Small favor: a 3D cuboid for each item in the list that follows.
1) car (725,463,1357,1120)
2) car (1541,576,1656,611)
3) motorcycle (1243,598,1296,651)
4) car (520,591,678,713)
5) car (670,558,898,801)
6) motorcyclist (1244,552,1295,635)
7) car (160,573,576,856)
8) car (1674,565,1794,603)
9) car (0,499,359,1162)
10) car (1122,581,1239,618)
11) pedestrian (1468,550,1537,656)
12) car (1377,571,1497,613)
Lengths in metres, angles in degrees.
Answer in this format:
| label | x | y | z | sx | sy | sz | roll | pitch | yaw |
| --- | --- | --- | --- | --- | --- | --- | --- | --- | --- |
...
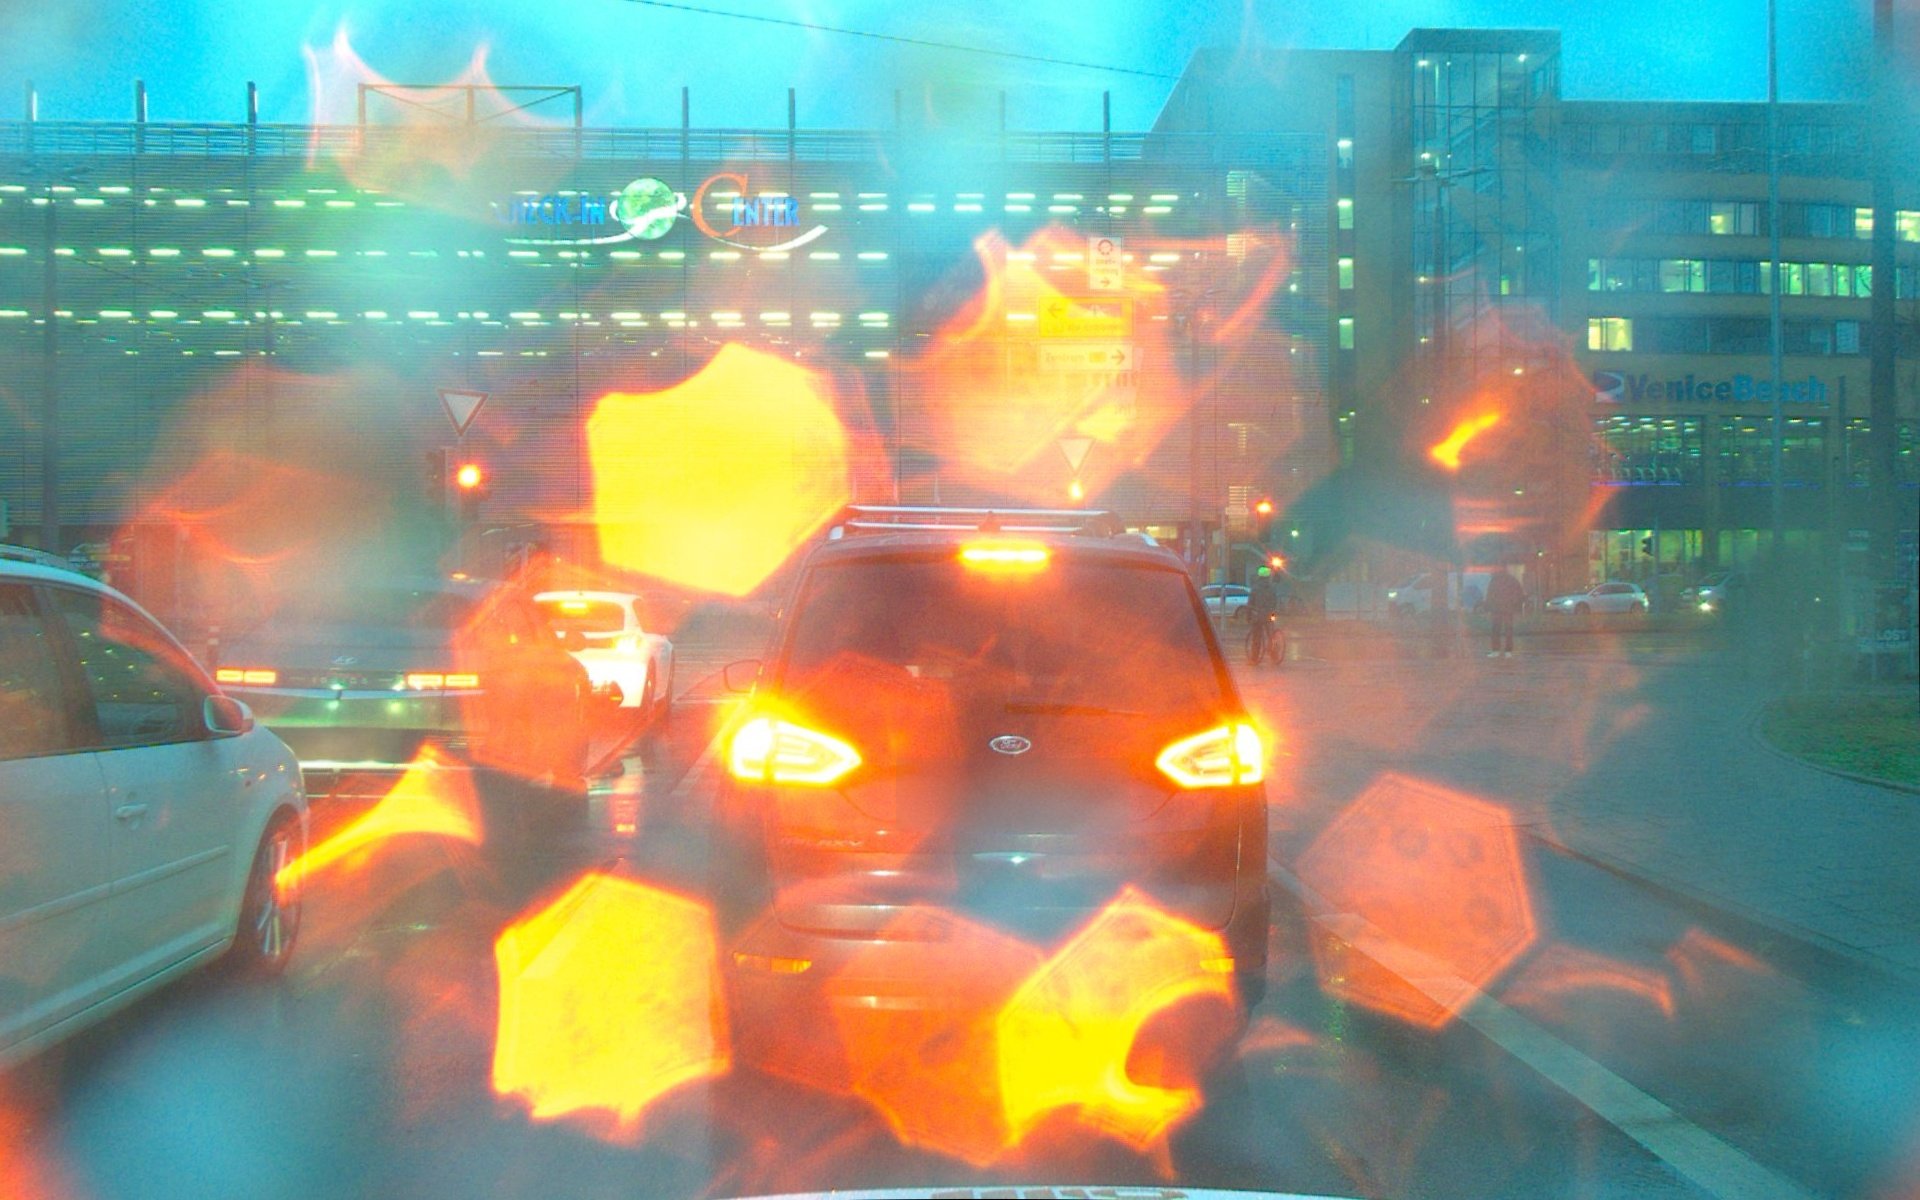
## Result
| label | x | y | z | sx | sy | sz | roll | pitch | yaw |
| --- | --- | --- | --- | --- | --- | --- | --- | --- | --- |
| car | 0.126 | 0.520 | 6.694 | 1.700 | 1.768 | 4.244 | 2 | 0 | -3 |
| car | 26.544 | -0.283 | 68.774 | 4.136 | 1.414 | 1.797 | 0 | 0 | -8 |
| motorcycle | 5.924 | 0.460 | 31.725 | 0.835 | 0.989 | 1.582 | 0 | 0 | 5 |
| car | -4.127 | 0.537 | 19.374 | 1.512 | 1.273 | 4.060 | 0 | 0 | -8 |
| car | -1.416 | 0.571 | 13.690 | 1.604 | 1.726 | 3.667 | 1 | 0 | -5 |
| motorcyclist | 5.926 | -0.125 | 31.739 | 0.850 | 1.561 | 1.109 | 0 | 0 | 5 |
| car | -3.837 | 0.642 | 11.452 | 1.718 | 1.601 | 3.996 | 0 | 0 | -5 |
| car | 32.733 | -0.673 | 69.968 | 4.348 | 1.561 | 1.797 | 0 | 0 | -8 |
| car | -3.276 | 0.552 | 4.864 | 1.637 | 1.689 | 4.146 | 2 | 1 | -3 |
| car | 8.803 | -0.035 | 66.295 | 4.336 | 1.414 | 1.797 | 0 | 0 | -8 |
| pedestrian | 10.436 | 0.051 | 31.797 | 1.146 | 1.957 | 0.898 | 2 | 0 | 22 |
| car | 19.358 | -0.329 | 67.159 | 4.336 | 1.623 | 1.797 | 0 | 0 | -8 |
